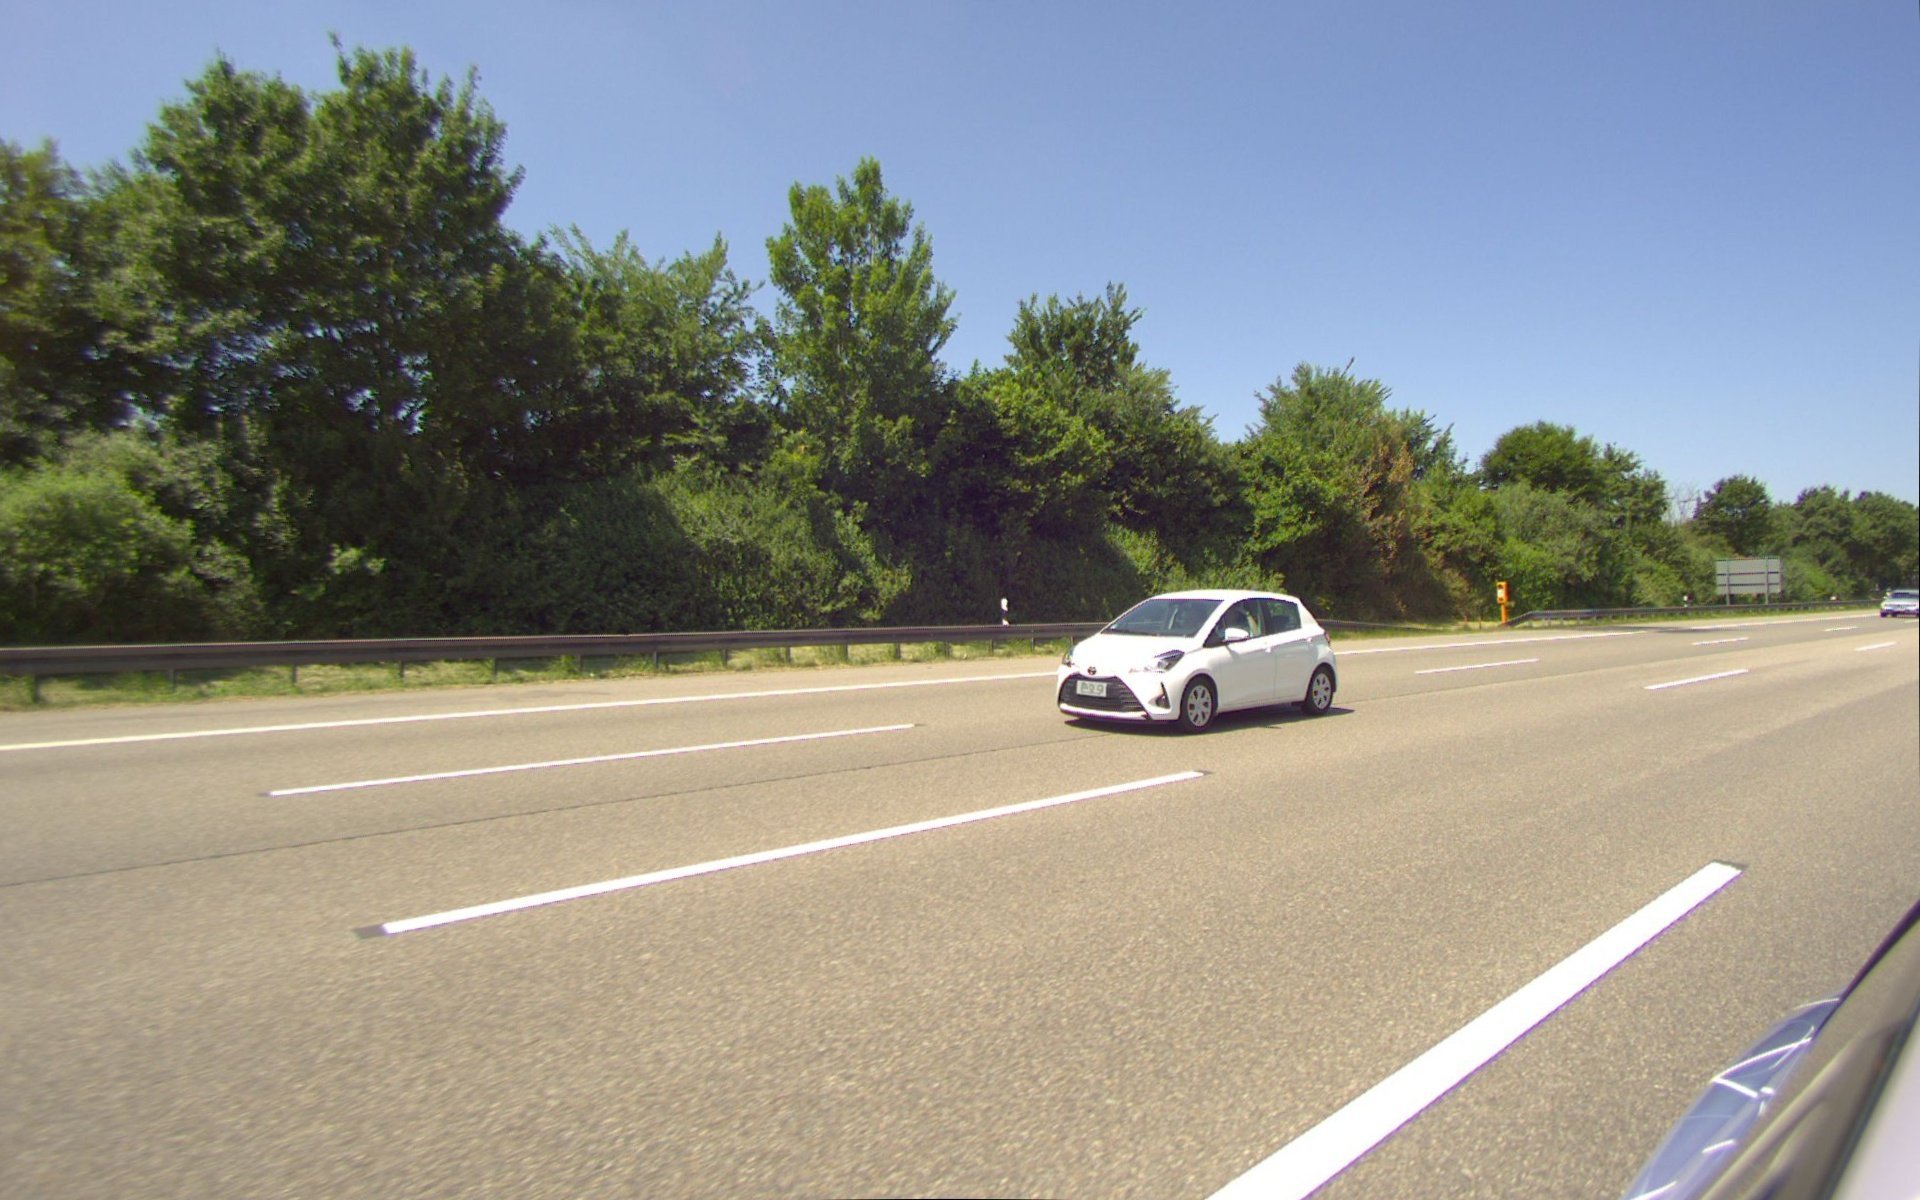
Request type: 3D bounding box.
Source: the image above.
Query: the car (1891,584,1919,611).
[{"bbox_3d":[57.210,-0.151,60.307,3.928,1.549,1.998,-1,1,-38],"label":"car"}]

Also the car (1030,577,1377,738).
[{"bbox_3d":[3.010,0.523,11.979,4.406,1.538,1.753,-1,1,-41],"label":"car"}]
